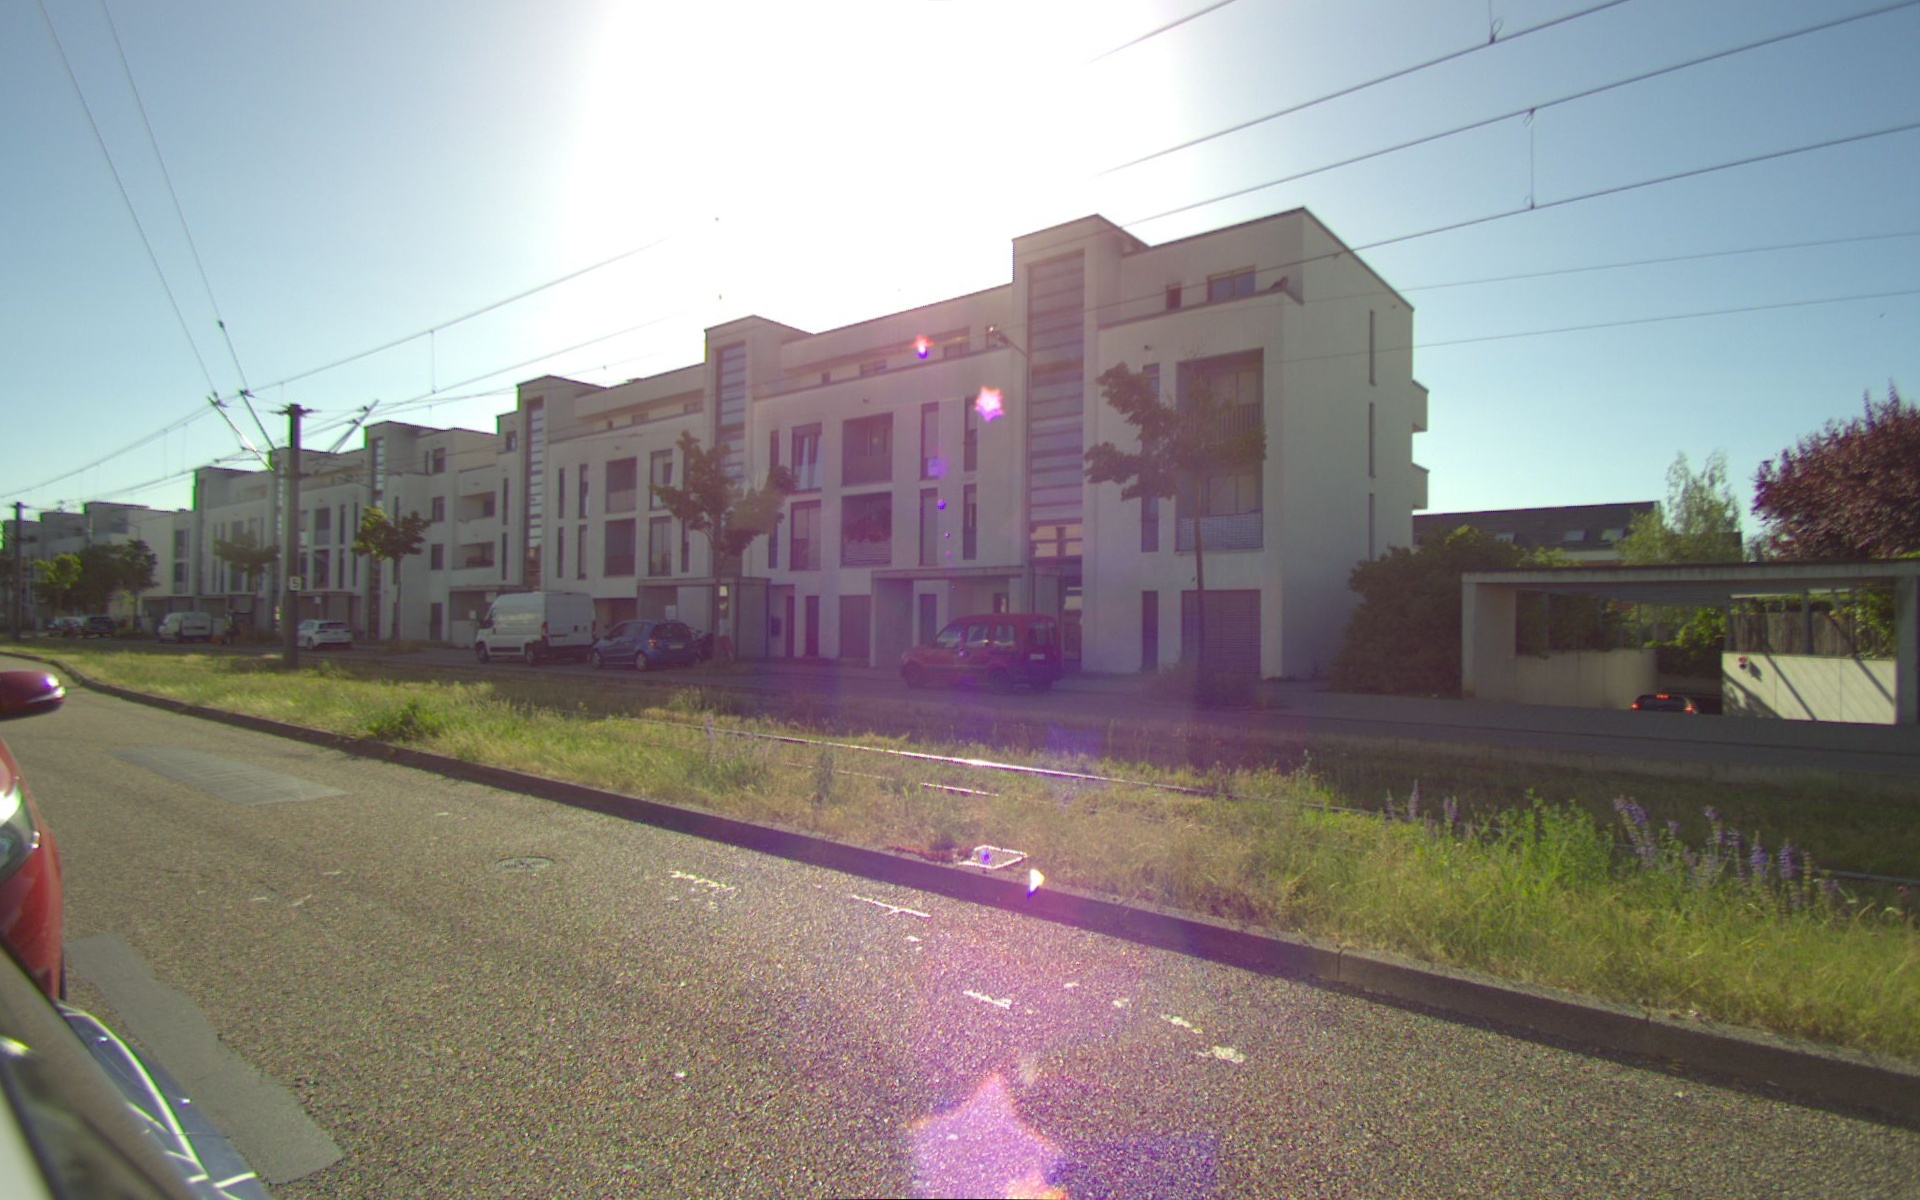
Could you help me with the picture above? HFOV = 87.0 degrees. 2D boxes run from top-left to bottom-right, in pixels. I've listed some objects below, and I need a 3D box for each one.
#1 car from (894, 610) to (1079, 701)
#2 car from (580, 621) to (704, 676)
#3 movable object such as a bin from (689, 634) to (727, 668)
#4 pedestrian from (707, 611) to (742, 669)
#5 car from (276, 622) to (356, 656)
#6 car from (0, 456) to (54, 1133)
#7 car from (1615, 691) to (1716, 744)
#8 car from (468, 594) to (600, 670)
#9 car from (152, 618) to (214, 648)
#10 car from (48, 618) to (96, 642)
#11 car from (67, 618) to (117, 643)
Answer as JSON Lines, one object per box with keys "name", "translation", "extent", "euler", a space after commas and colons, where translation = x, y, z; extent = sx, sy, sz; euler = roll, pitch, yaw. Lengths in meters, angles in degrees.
{"name": "car", "translation": [0.541, 1.180, 23.023], "extent": [3.895, 1.842, 1.972], "euler": [-1, 0, 43]}
{"name": "car", "translation": [-9.997, 1.461, 31.743], "extent": [3.833, 1.556, 1.973], "euler": [-1, 0, 40]}
{"name": "movable object such as a bin", "translation": [-8.330, 1.673, 33.430], "extent": [1.083, 1.062, 0.719], "euler": [-1, 0, 42]}
{"name": "pedestrian", "translation": [-7.635, 1.280, 32.802], "extent": [0.785, 1.836, 0.766], "euler": [-1, 0, 41]}
{"name": "car", "translation": [-31.134, 1.853, 48.901], "extent": [4.277, 1.517, 1.900], "euler": [-1, 0, 37]}
{"name": "car", "translation": [-4.875, 0.564, 3.663], "extent": [4.505, 1.868, 1.850], "euler": [-1, 0, 41]}
{"name": "car", "translation": [20.413, 3.409, 29.218], "extent": [3.939, 1.337, 1.578], "euler": [8, -7, -42]}
{"name": "car", "translation": [-15.192, 1.088, 35.947], "extent": [5.193, 2.491, 2.197], "euler": [-1, 0, 40]}
{"name": "car", "translation": [-47.354, 1.978, 61.626], "extent": [4.277, 1.693, 1.900], "euler": [-1, 0, 37]}
{"name": "car", "translation": [-67.521, 2.274, 76.930], "extent": [4.277, 1.693, 1.900], "euler": [-1, 0, 37]}
{"name": "car", "translation": [-62.976, 2.183, 73.406], "extent": [4.277, 1.693, 1.900], "euler": [-1, 0, 37]}
